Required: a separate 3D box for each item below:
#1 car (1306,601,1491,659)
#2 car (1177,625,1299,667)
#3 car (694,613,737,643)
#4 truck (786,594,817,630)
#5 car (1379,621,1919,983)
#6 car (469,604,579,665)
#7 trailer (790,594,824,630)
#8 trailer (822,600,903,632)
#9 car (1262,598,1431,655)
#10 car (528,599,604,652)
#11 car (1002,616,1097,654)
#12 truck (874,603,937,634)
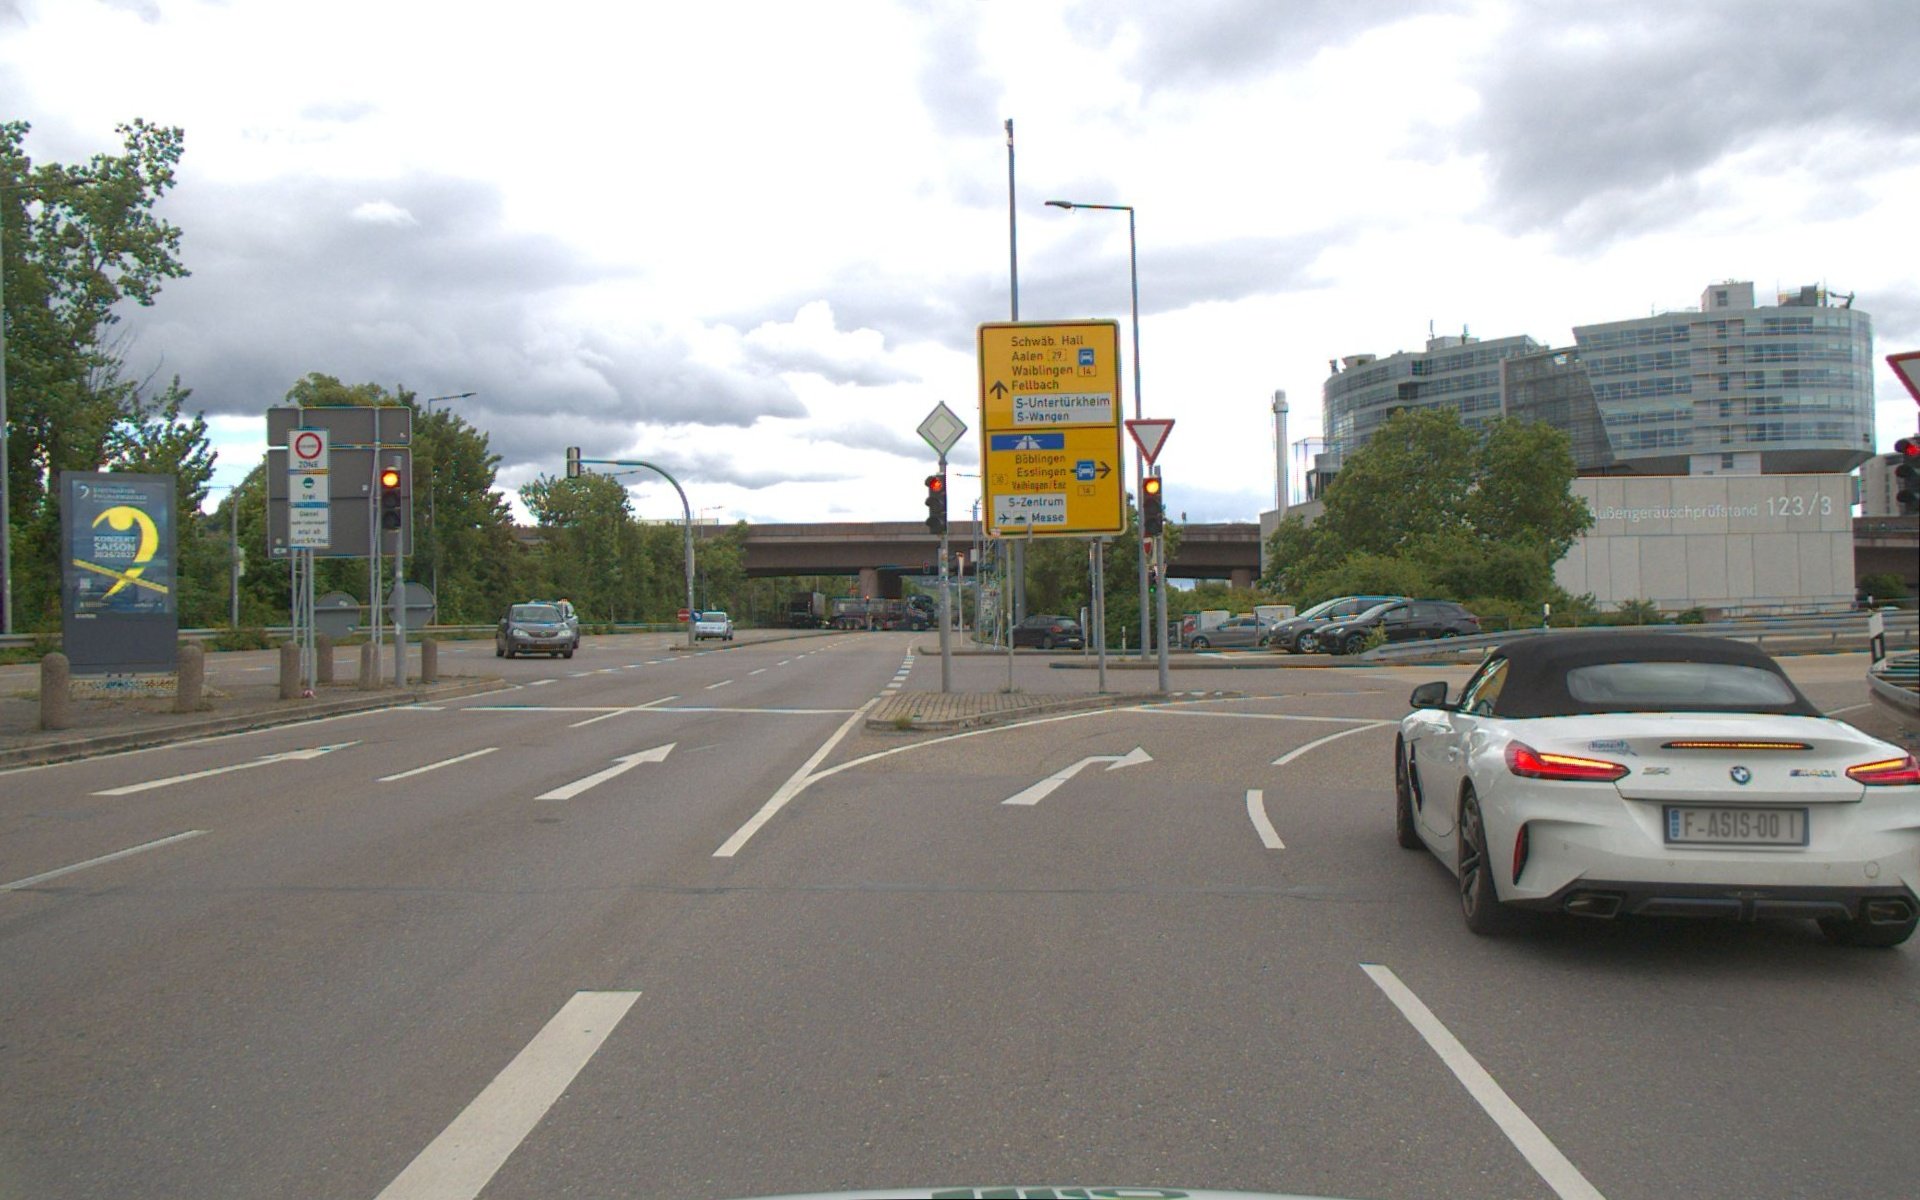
[{"bbox_3d":[12.014,0.804,45.469,4.516,1.483,1.954,0,0,-6],"label":"car"},{"bbox_3d":[10.292,1.713,61.285,4.019,1.467,1.996,-1,-3,29],"label":"car"},{"bbox_3d":[-12.576,1.424,85.249,1.689,1.425,4.065,-1,0,-1],"label":"car"},{"bbox_3d":[-18.916,1.434,198.078,2.812,4.156,6.488,2,0,1],"label":"truck"},{"bbox_3d":[3.329,0.796,8.481,1.767,1.314,4.266,1,0,7],"label":"car"},{"bbox_3d":[-12.075,1.003,45.634,1.708,1.487,4.195,3,-5,-33],"label":"car"},{"bbox_3d":[-18.785,1.455,203.443,2.812,4.156,11.428,2,0,1],"label":"trailer"},{"bbox_3d":[-9.838,1.606,166.180,8.401,2.669,2.599,3,-1,37],"label":"trailer"},{"bbox_3d":[11.507,0.778,49.445,4.585,1.599,1.955,0,0,-3],"label":"car"},{"bbox_3d":[-13.692,0.860,57.732,1.689,1.767,4.553,-1,0,-2],"label":"car"},{"bbox_3d":[3.683,1.462,68.716,1.975,1.490,4.063,2,-3,-33],"label":"car"},{"bbox_3d":[-5.391,1.828,163.959,5.640,2.669,2.622,3,-1,15],"label":"truck"}]
